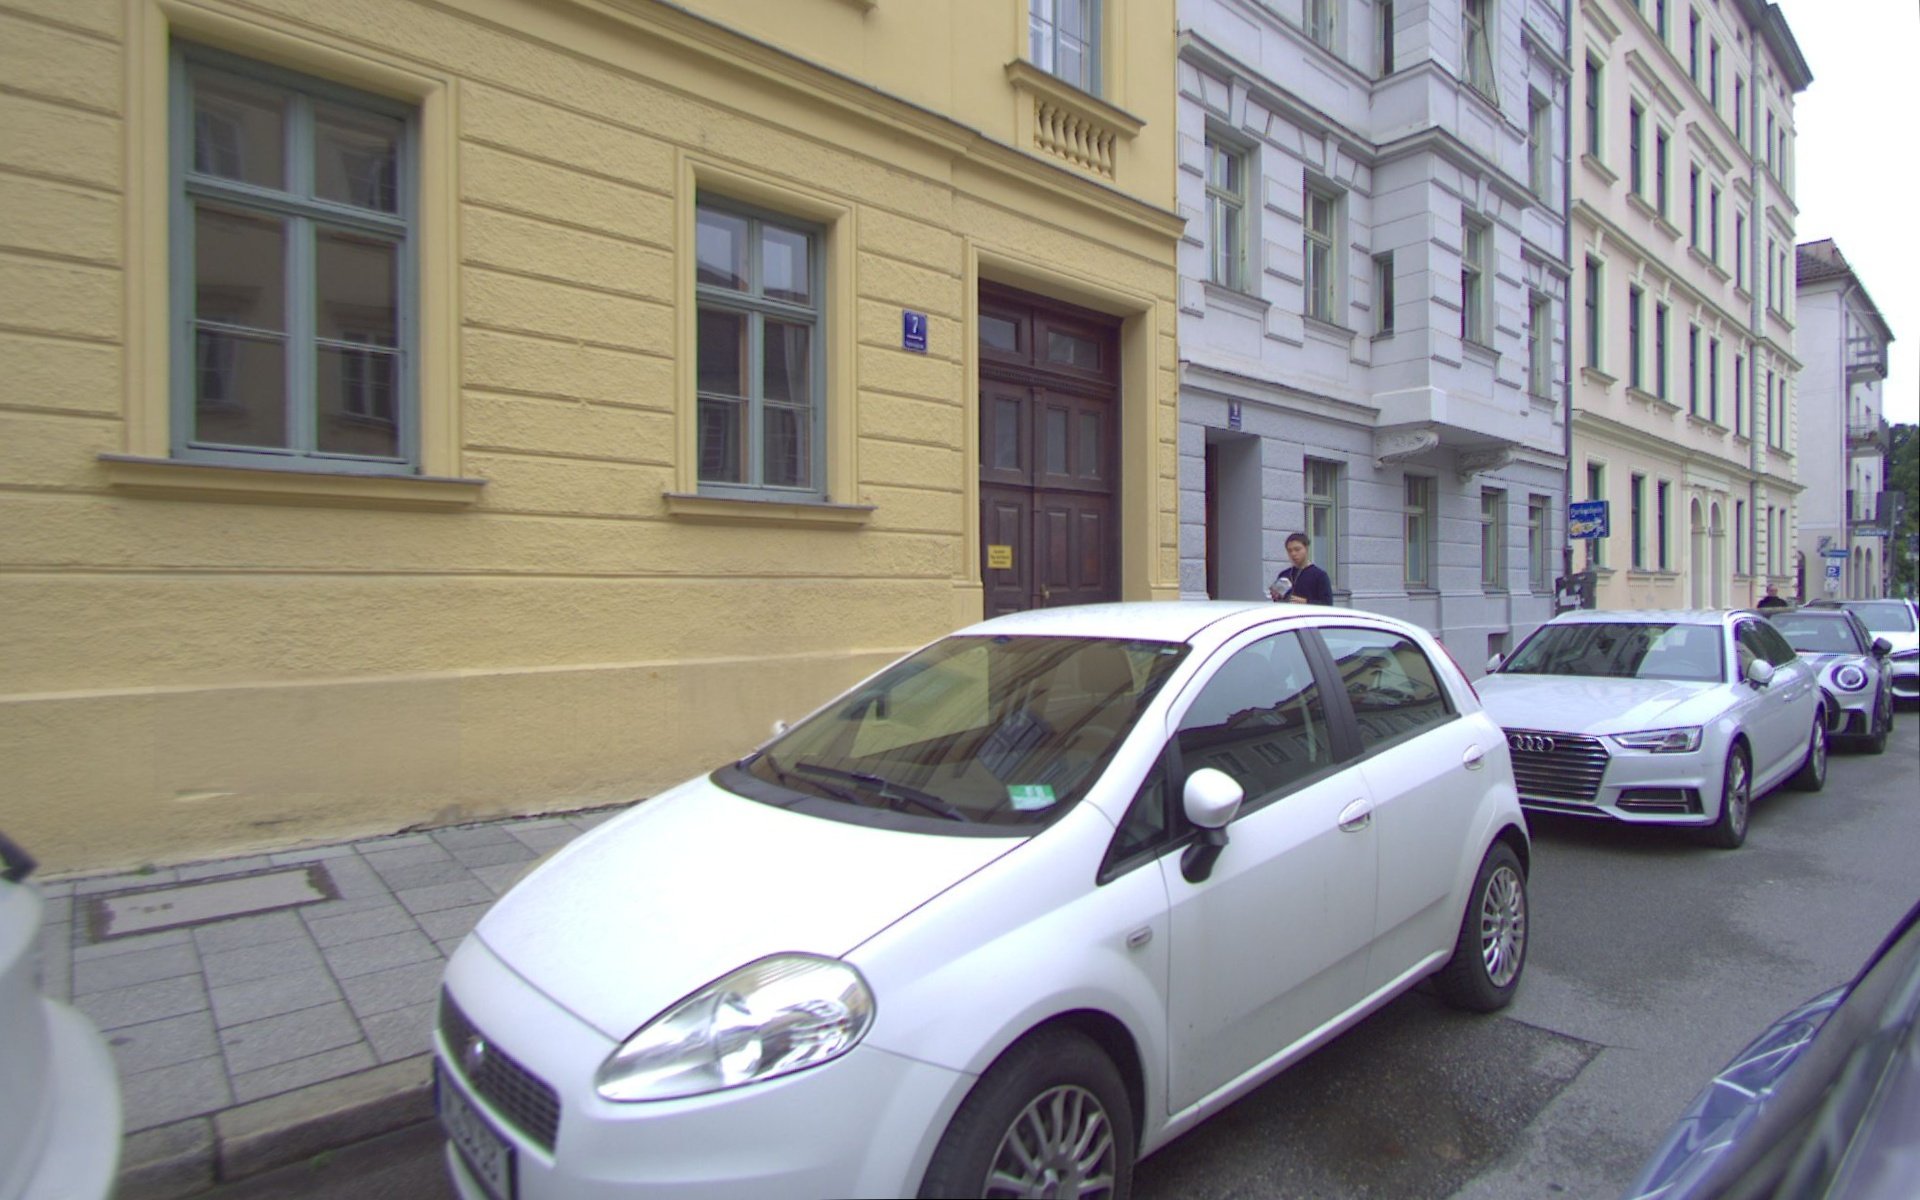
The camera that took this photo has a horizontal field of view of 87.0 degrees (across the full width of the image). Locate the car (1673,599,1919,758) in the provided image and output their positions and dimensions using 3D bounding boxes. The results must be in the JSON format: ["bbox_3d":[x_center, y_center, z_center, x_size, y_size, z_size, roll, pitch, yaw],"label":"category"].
[{"bbox_3d":[9.517,0.721,11.361,4.137,1.422,1.709,-1,0,-44],"label":"car"}]

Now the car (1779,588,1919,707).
[{"bbox_3d":[14.140,0.621,15.508,4.389,1.603,1.746,-1,0,-41],"label":"car"}]

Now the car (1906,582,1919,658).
[{"bbox_3d":[26.190,0.477,26.114,5.160,1.888,2.001,0,-1,-40],"label":"car"}]

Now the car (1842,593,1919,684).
[{"bbox_3d":[17.844,0.649,18.712,4.200,1.540,1.757,-1,0,-41],"label":"car"}]

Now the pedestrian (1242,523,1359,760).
[{"bbox_3d":[3.041,0.329,9.056,0.696,2.004,0.671,-1,4,-40],"label":"pedestrian"}]

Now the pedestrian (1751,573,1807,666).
[{"bbox_3d":[15.976,0.354,19.734,0.987,1.738,0.720,-2,1,-42],"label":"pedestrian"}]

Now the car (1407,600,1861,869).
[{"bbox_3d":[5.341,0.730,7.716,4.731,1.426,1.711,-1,0,-41],"label":"car"}]

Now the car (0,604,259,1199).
[{"bbox_3d":[-2.893,0.729,0.381,4.136,1.410,1.709,-1,0,-44],"label":"car"}]

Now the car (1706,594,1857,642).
[{"bbox_3d":[29.951,0.622,36.975,1.725,1.626,4.093,2,-1,-42],"label":"car"}]

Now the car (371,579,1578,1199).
[{"bbox_3d":[0.500,0.692,3.404,4.028,1.473,1.709,-1,0,-44],"label":"car"}]
